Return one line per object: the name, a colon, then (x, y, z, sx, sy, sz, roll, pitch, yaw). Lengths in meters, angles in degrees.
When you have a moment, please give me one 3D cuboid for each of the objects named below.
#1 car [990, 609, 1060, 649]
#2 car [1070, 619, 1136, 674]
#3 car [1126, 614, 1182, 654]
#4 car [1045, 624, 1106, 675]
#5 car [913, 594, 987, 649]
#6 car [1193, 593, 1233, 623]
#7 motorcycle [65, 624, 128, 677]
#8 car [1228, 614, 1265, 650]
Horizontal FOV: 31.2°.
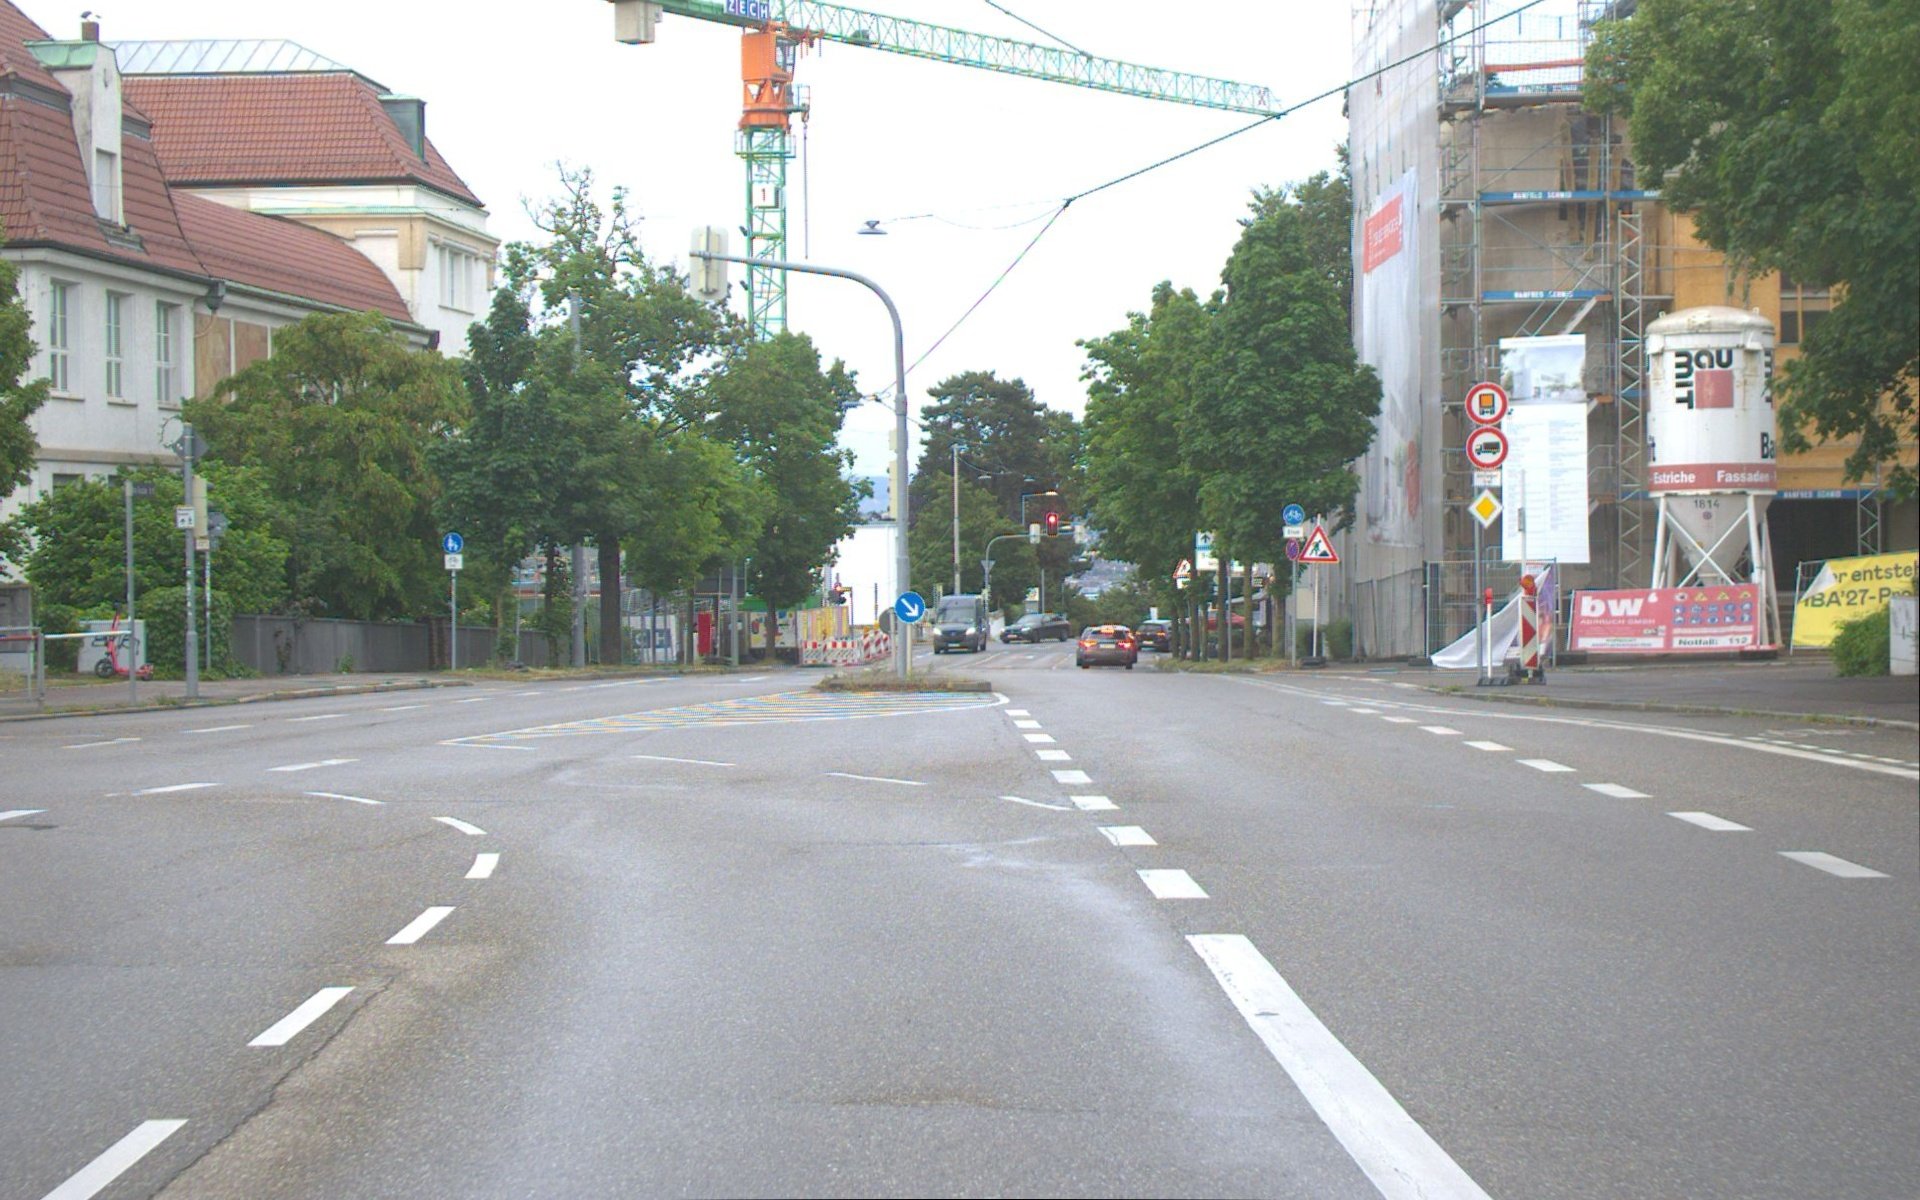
car: (3.228, 1.415, 170.776, 1.996, 1.875, 3.995, -1, 1, 26)
car: (4.902, 1.594, 118.523, 1.993, 1.744, 4.000, -1, 1, -1)
car: (9.173, 1.605, 162.323, 1.994, 1.744, 3.998, -1, 1, 12)
car: (4.232, 1.806, 126.438, 1.993, 1.744, 4.000, -1, 1, -1)
car: (-0.431, 0.962, 157.494, 2.849, 2.394, 6.186, 0, 0, 5)
car: (15.682, 0.512, 212.737, 1.994, 1.744, 3.998, -1, 1, 11)
motorcycle: (-14.658, 0.850, 58.356, 0.849, 0.874, 0.877, 0, 0, -1)
car: (14.776, 1.631, 177.035, 1.596, 1.717, 3.903, -1, 1, 9)
